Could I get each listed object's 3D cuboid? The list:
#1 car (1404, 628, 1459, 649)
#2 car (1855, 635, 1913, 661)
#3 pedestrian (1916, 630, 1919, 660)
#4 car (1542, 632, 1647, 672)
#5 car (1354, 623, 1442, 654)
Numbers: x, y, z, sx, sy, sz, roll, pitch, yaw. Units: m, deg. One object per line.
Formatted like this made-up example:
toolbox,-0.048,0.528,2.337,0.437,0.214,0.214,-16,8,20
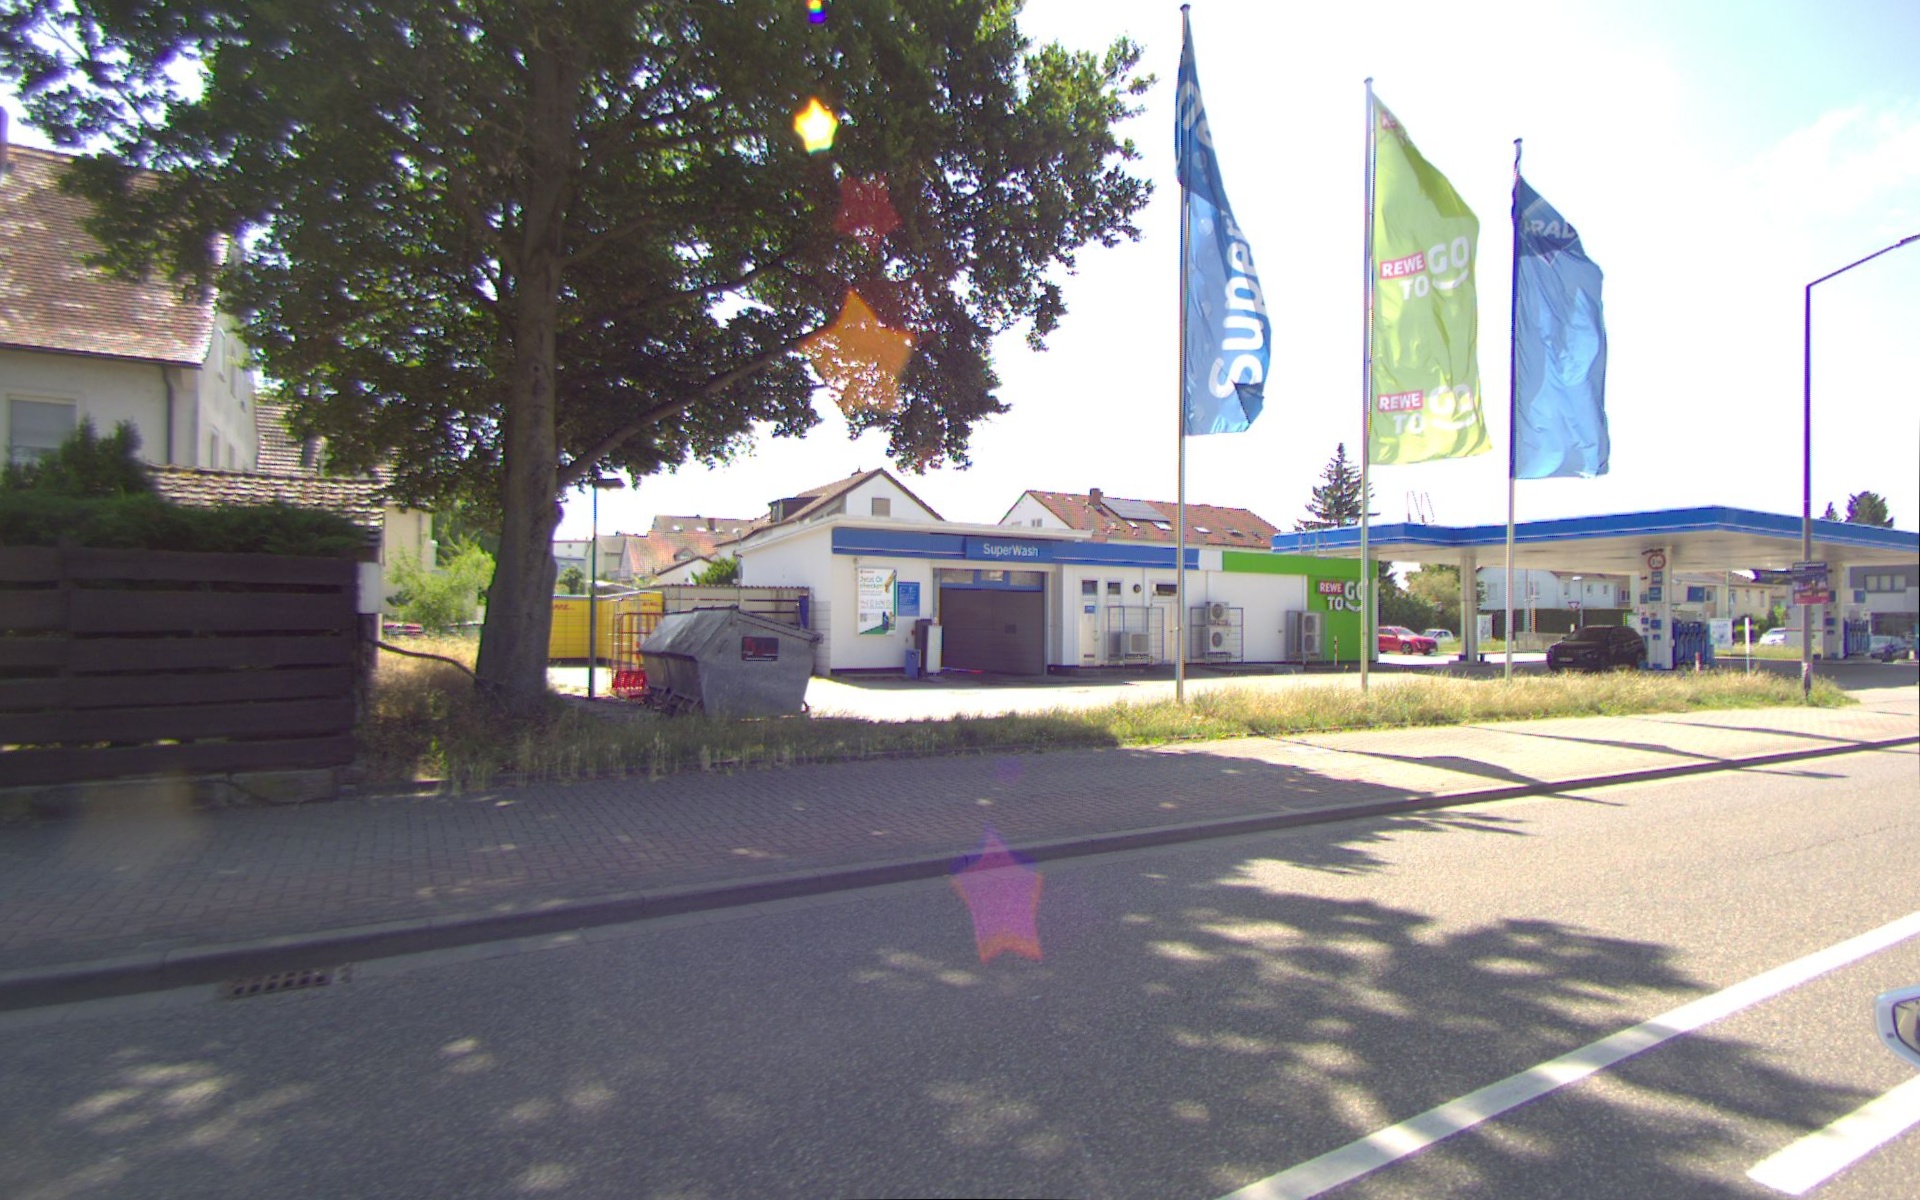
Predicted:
car,34.733,2.804,73.958,3.949,1.500,1.664,1,-1,-27
car,52.903,2.761,57.523,3.673,1.438,1.607,1,-3,-34
pedestrian,54.861,2.567,57.121,0.602,1.713,0.707,0,-1,35
car,23.686,1.922,37.493,3.952,1.400,1.662,1,-1,-30
car,23.065,2.014,52.990,1.659,1.556,3.959,1,-1,-36
